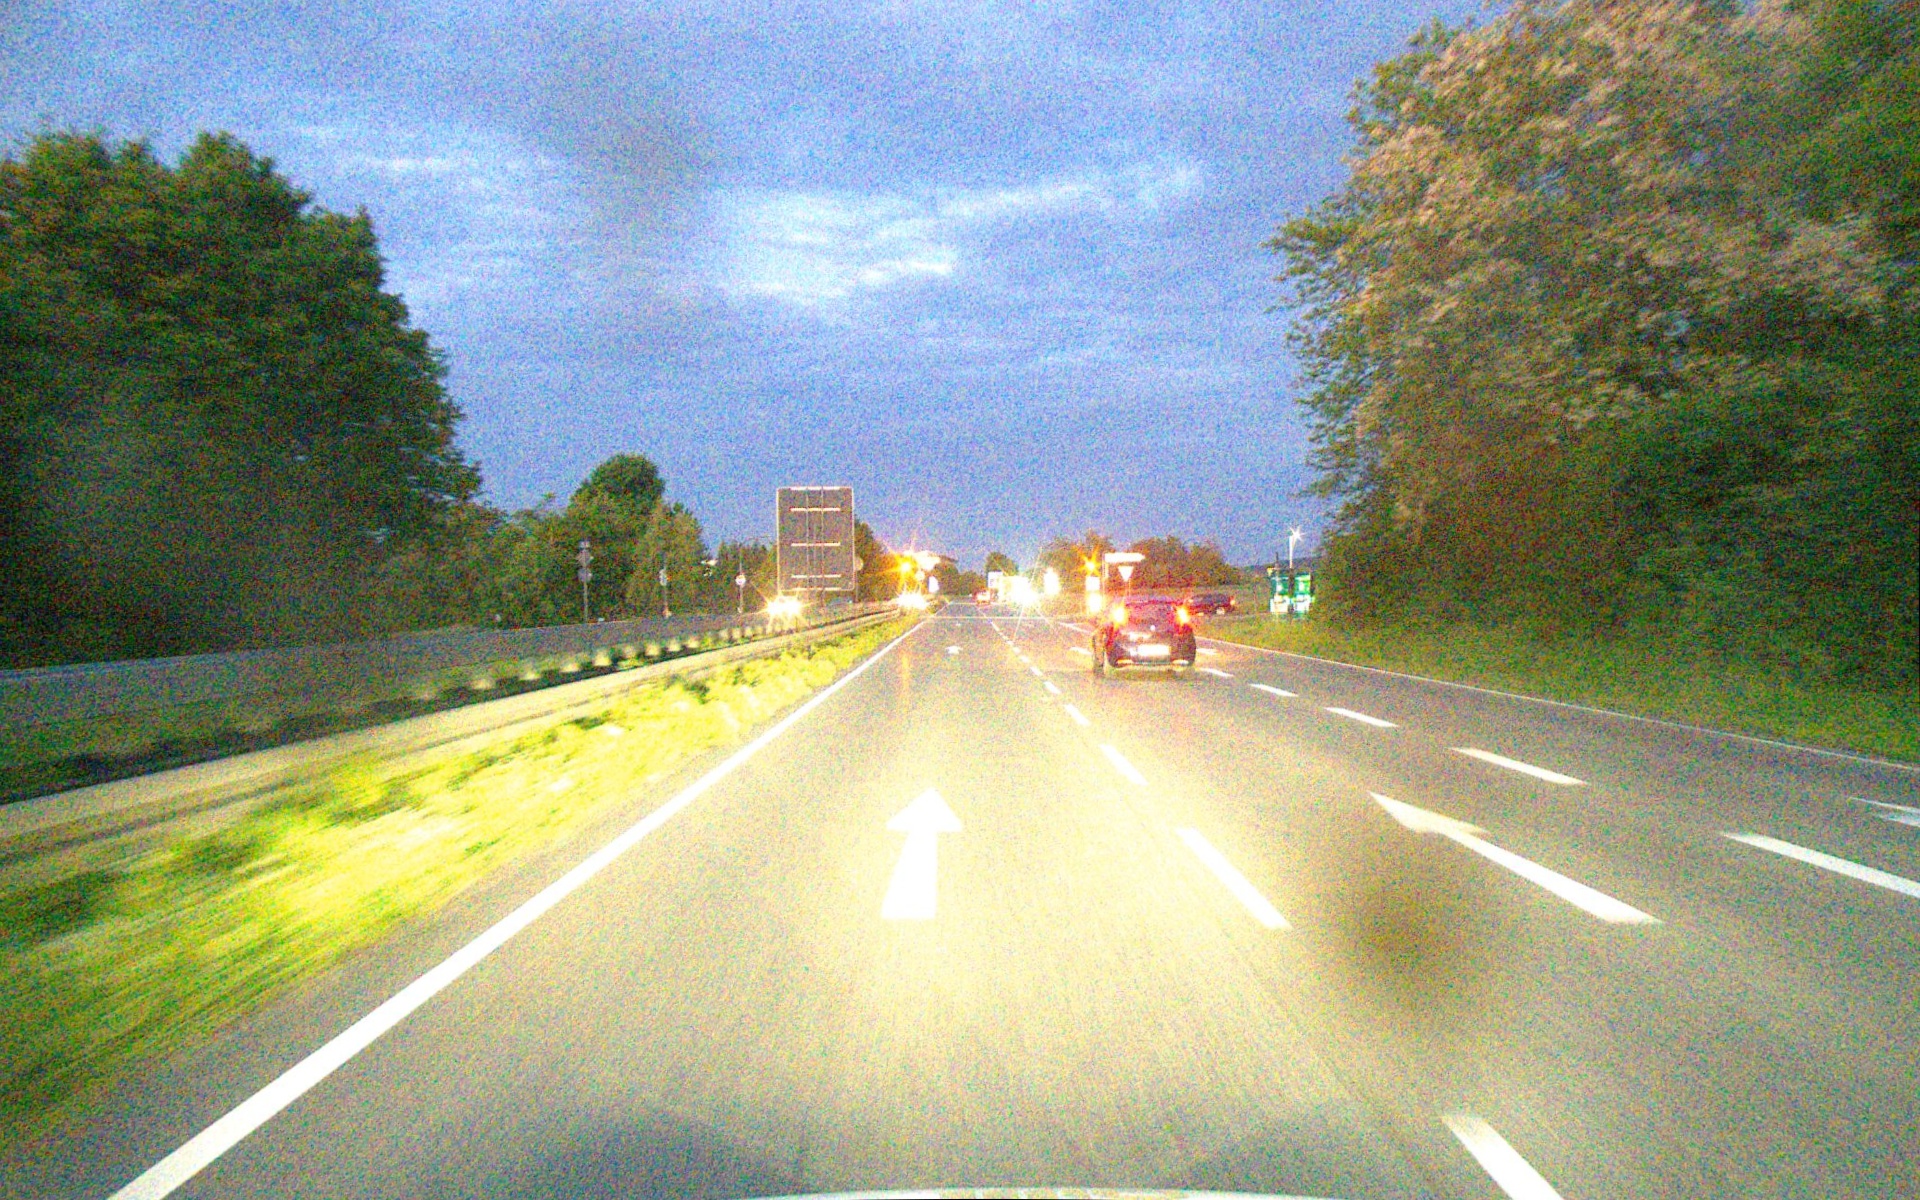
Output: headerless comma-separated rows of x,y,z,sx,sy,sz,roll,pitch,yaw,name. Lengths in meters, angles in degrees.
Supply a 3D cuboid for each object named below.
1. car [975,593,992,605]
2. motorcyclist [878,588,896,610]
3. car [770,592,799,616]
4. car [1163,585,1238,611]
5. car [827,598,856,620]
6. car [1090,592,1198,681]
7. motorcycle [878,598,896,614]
3.307,-0.130,234.283,2.227,1.660,3.999,0,0,-1,car
-5.368,-0.074,121.662,1.113,1.612,0.973,-1,0,6,motorcyclist
-12.514,0.266,118.358,1.758,1.700,4.500,0,0,-2,car
15.319,-0.137,105.487,4.506,1.547,2.000,-2,0,0,car
-8.443,0.657,117.860,1.882,1.457,4.500,-2,0,-2,car
3.369,0.635,30.863,1.636,1.547,4.106,0,0,1,car
-5.347,0.410,121.765,0.958,1.118,2.510,-1,0,6,motorcycle
